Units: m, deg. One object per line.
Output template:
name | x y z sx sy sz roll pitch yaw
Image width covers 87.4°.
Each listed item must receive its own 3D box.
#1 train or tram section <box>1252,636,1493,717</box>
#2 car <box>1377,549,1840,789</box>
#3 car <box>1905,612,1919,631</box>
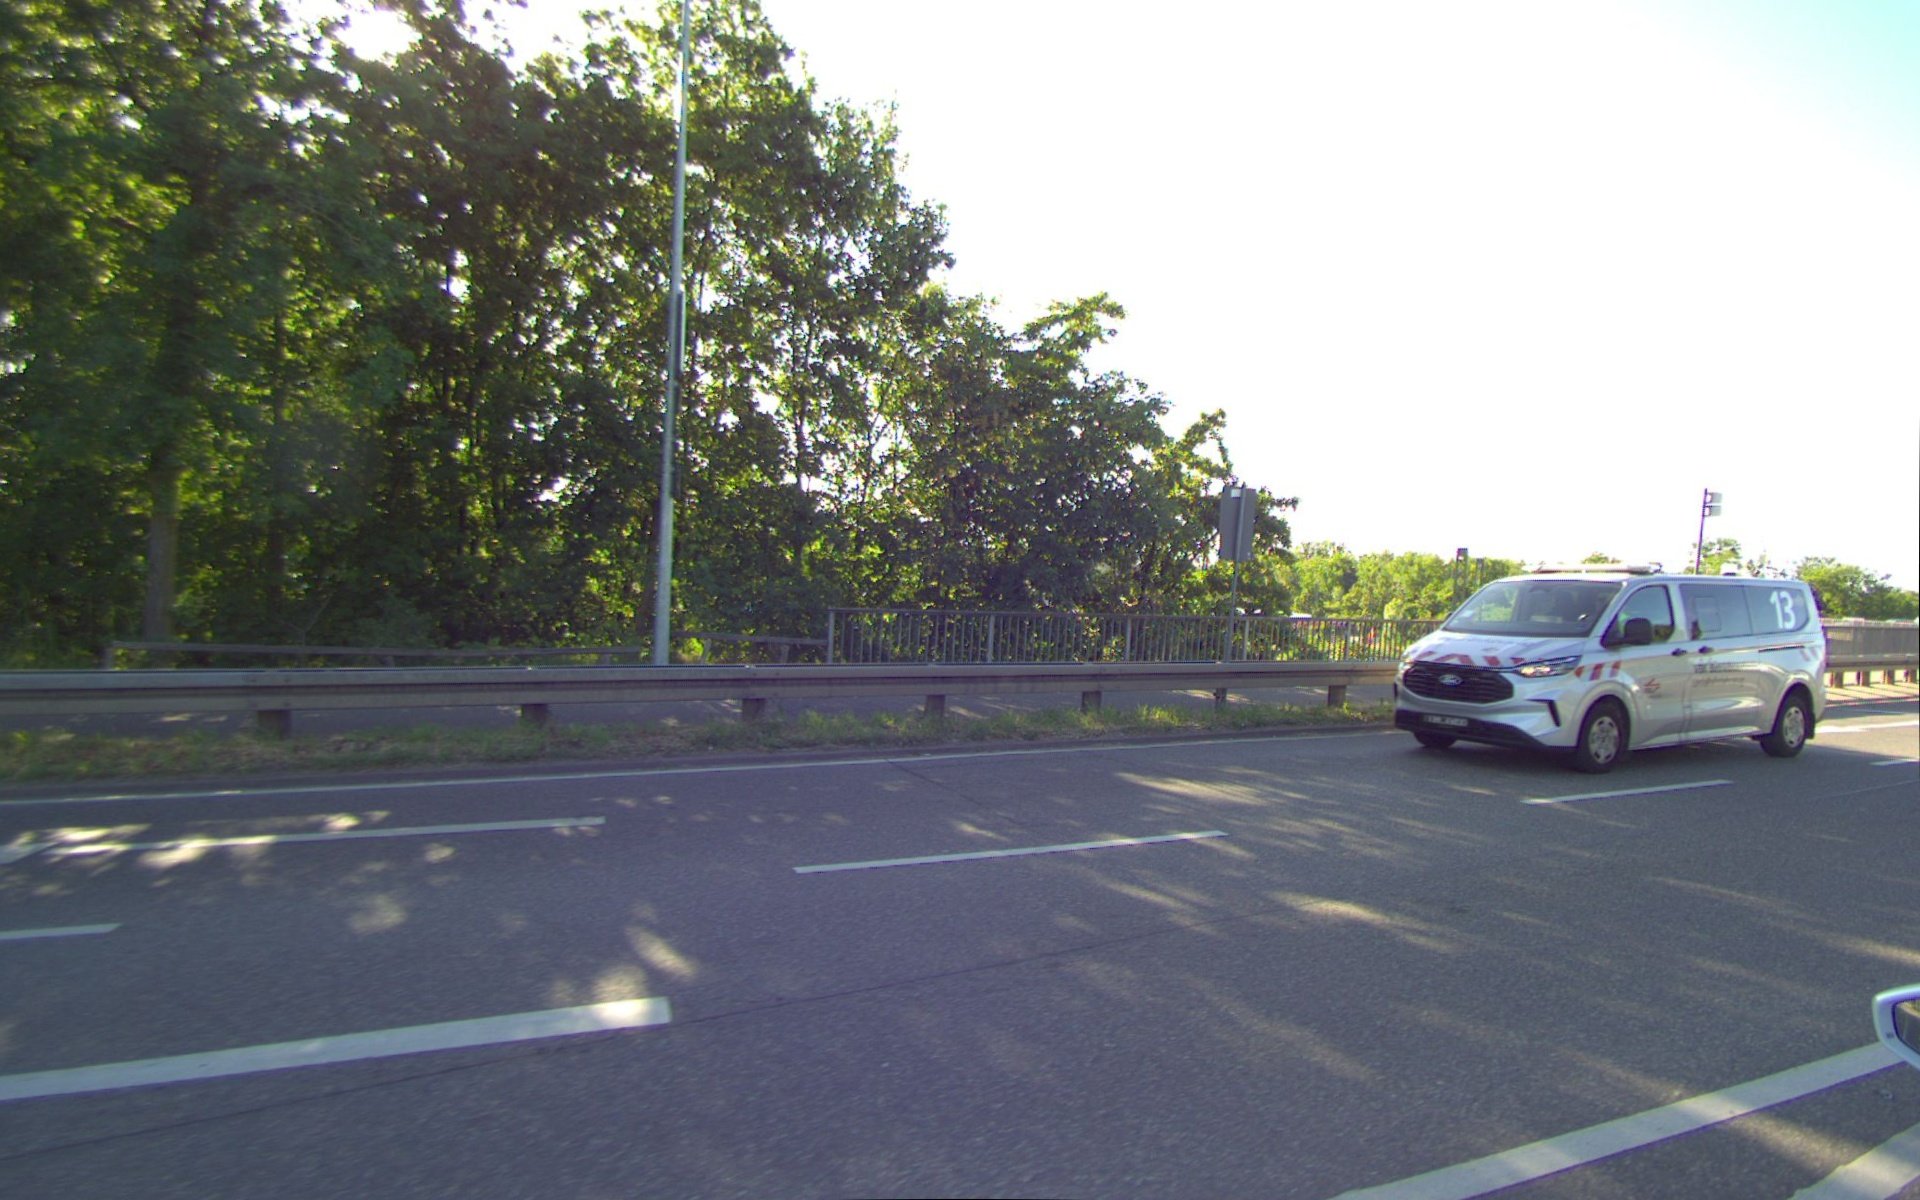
train or tram section | 31.101 5.608 76.382 16.469 4.653 3.898 2 1 30
car | 7.204 0.677 11.045 5.203 2.140 1.942 1 -1 -27
car | 80.832 1.845 83.708 1.807 1.576 3.890 2 1 25
